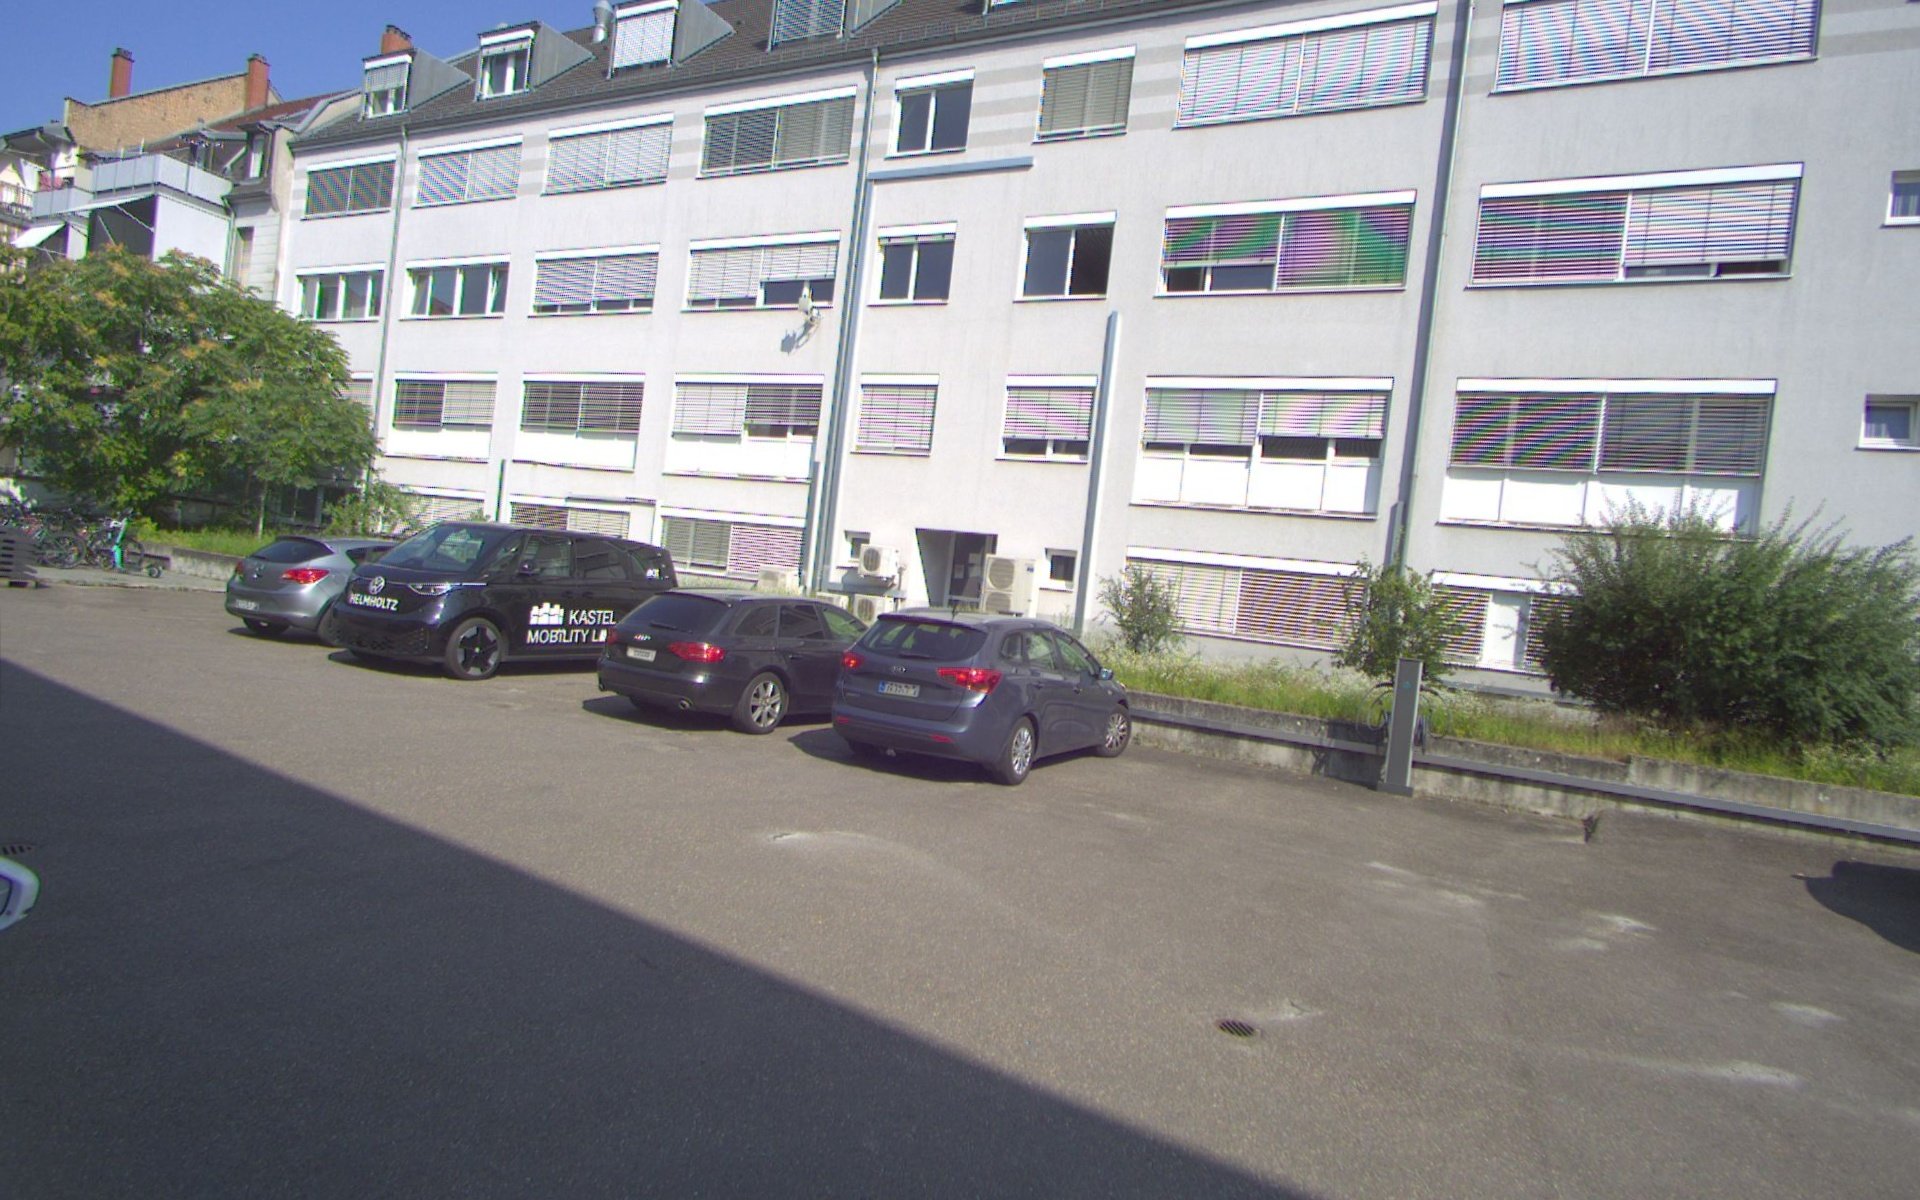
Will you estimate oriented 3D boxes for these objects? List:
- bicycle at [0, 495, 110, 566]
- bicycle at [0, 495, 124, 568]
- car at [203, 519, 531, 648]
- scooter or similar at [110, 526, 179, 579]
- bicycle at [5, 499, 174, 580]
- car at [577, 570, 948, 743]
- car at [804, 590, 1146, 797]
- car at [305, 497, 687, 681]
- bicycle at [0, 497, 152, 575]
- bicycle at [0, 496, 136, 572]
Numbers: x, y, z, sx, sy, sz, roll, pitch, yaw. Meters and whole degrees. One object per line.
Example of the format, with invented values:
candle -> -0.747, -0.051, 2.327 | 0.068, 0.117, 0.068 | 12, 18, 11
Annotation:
bicycle -> -19.751, -1.502, 21.403 | 0.518, 1.261, 2.414 | 7, -1, 32
bicycle -> -19.182, -1.441, 21.089 | 0.518, 1.261, 2.414 | 7, -1, 32
car -> -8.417, -0.153, 14.711 | 1.632, 1.484, 3.908 | 7, 0, 19
scooter or similar -> -16.640, -0.960, 20.539 | 0.982, 0.935, 0.360 | 7, 0, -5
bicycle -> -17.299, -1.175, 20.068 | 0.518, 1.261, 2.414 | 7, -1, 32
car -> -2.016, 0.640, 11.546 | 1.662, 1.455, 4.238 | 7, 0, 31
car -> 0.389, 0.861, 10.275 | 1.712, 1.496, 4.054 | 7, 0, 28
car -> -5.863, -0.055, 13.367 | 1.880, 1.882, 4.346 | 7, 0, 23
bicycle -> -18.000, -1.274, 20.385 | 0.518, 1.261, 2.414 | 7, -1, 32
bicycle -> -18.650, -1.363, 20.775 | 0.518, 1.261, 2.414 | 7, -1, 32
